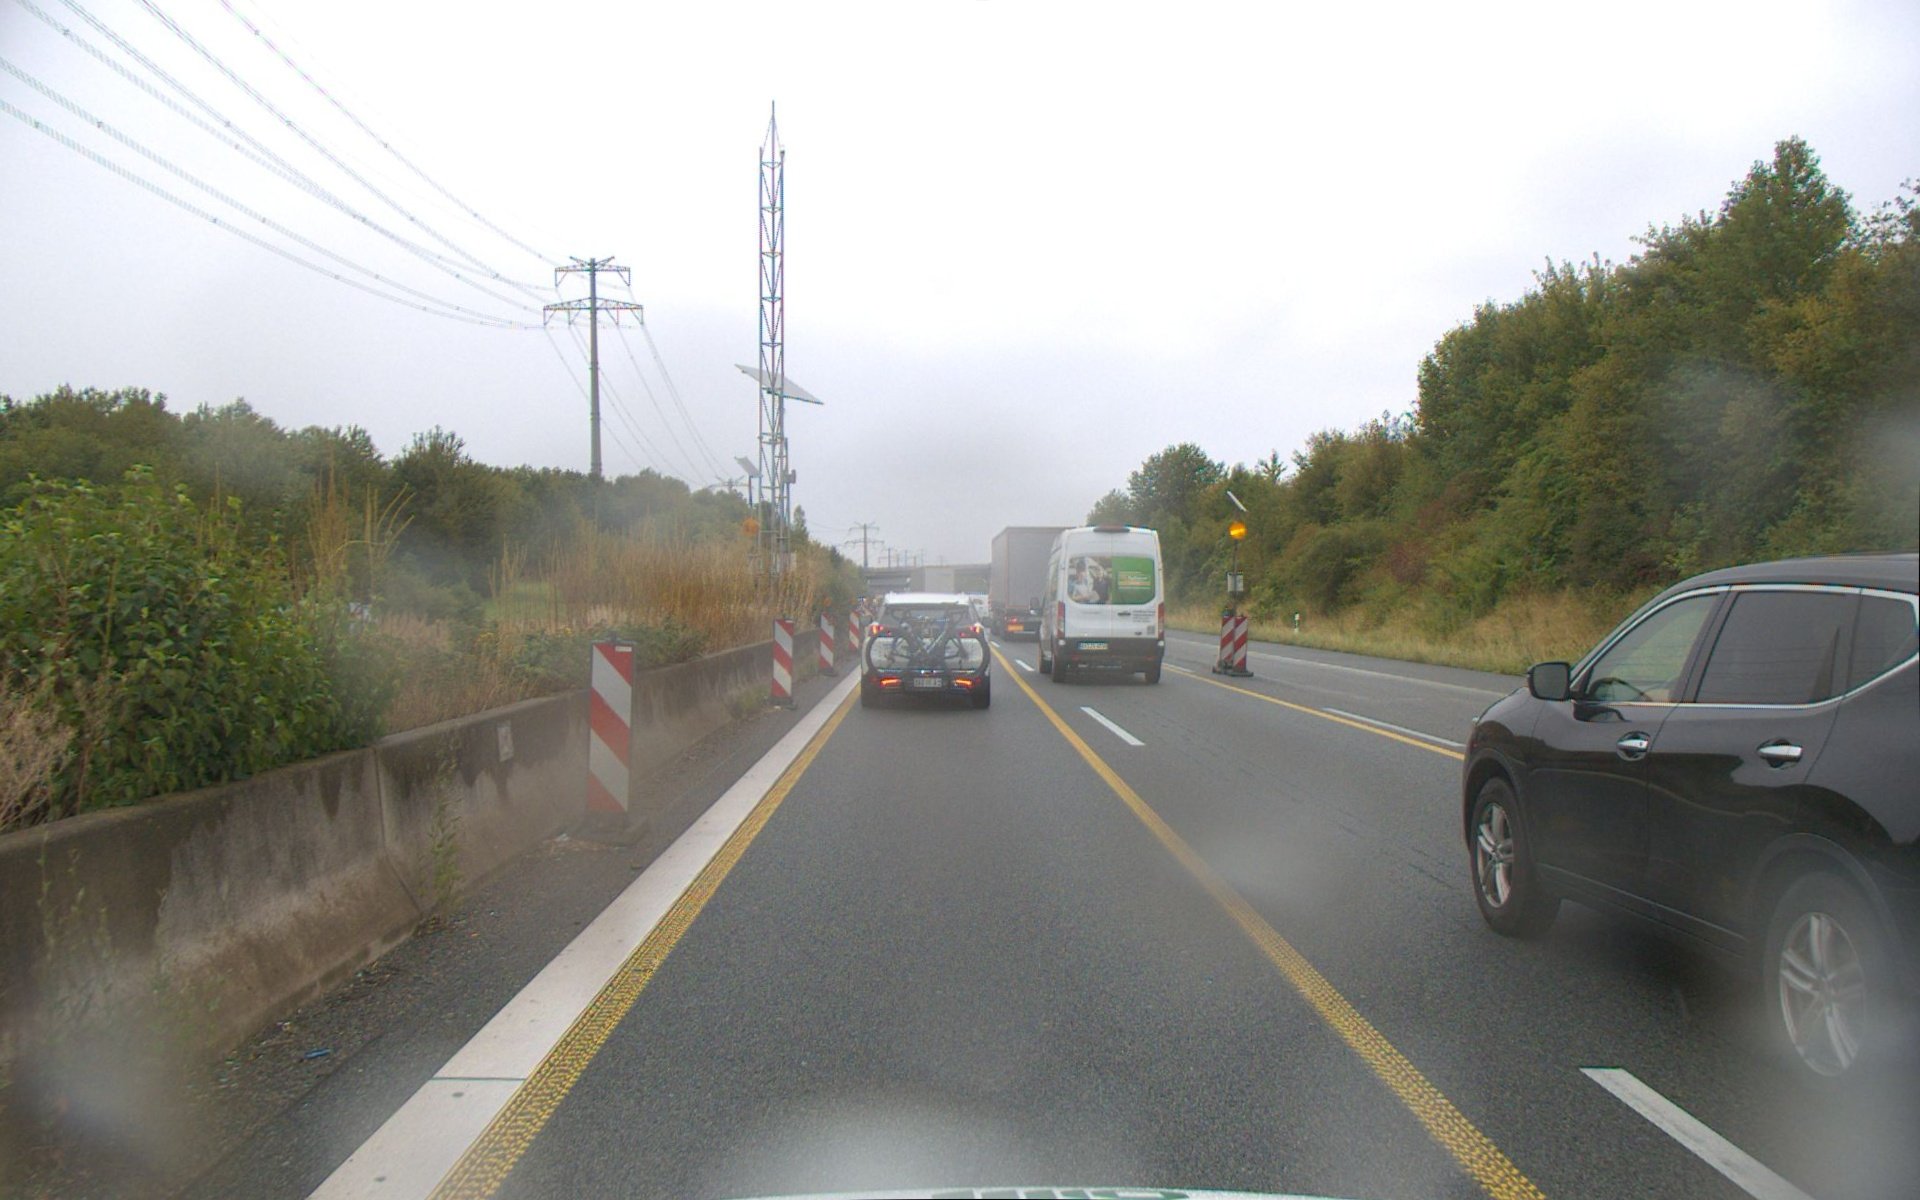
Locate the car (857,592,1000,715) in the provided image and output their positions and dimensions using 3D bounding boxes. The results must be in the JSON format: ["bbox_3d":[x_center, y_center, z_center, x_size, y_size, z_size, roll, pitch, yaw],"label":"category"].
[{"bbox_3d":[-0.456,0.681,23.481,1.813,1.557,4.767,0,0,-1],"label":"car"}]

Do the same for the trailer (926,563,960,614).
[{"bbox_3d":[-1.492,-0.935,139.616,2.638,4.148,13.629,0,0,-1],"label":"trailer"}]

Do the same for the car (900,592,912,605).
[{"bbox_3d":[-8.484,-0.293,261.474,1.892,2.008,3.999,0,1,-1],"label":"car"}]

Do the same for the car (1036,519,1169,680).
[{"bbox_3d":[2.639,-0.012,31.995,1.953,2.831,5.754,0,0,-1],"label":"car"}]

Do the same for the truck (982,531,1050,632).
[{"bbox_3d":[2.378,-0.766,71.898,2.651,4.211,5.689,0,0,-1],"label":"truck"}]

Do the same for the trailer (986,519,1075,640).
[{"bbox_3d":[2.553,-0.708,64.515,2.651,4.219,13.729,0,0,-1],"label":"trailer"}]

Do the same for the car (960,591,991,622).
[{"bbox_3d":[0.951,0.374,102.308,1.792,1.871,4.654,0,0,-1],"label":"car"}]

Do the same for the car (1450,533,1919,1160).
[{"bbox_3d":[3.341,0.664,6.068,1.651,1.687,4.278,0,0,-3],"label":"car"}]

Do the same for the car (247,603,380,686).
[{"bbox_3d":[-15.976,1.051,41.090,1.667,1.856,4.266,-2,0,-1],"label":"car"}]
